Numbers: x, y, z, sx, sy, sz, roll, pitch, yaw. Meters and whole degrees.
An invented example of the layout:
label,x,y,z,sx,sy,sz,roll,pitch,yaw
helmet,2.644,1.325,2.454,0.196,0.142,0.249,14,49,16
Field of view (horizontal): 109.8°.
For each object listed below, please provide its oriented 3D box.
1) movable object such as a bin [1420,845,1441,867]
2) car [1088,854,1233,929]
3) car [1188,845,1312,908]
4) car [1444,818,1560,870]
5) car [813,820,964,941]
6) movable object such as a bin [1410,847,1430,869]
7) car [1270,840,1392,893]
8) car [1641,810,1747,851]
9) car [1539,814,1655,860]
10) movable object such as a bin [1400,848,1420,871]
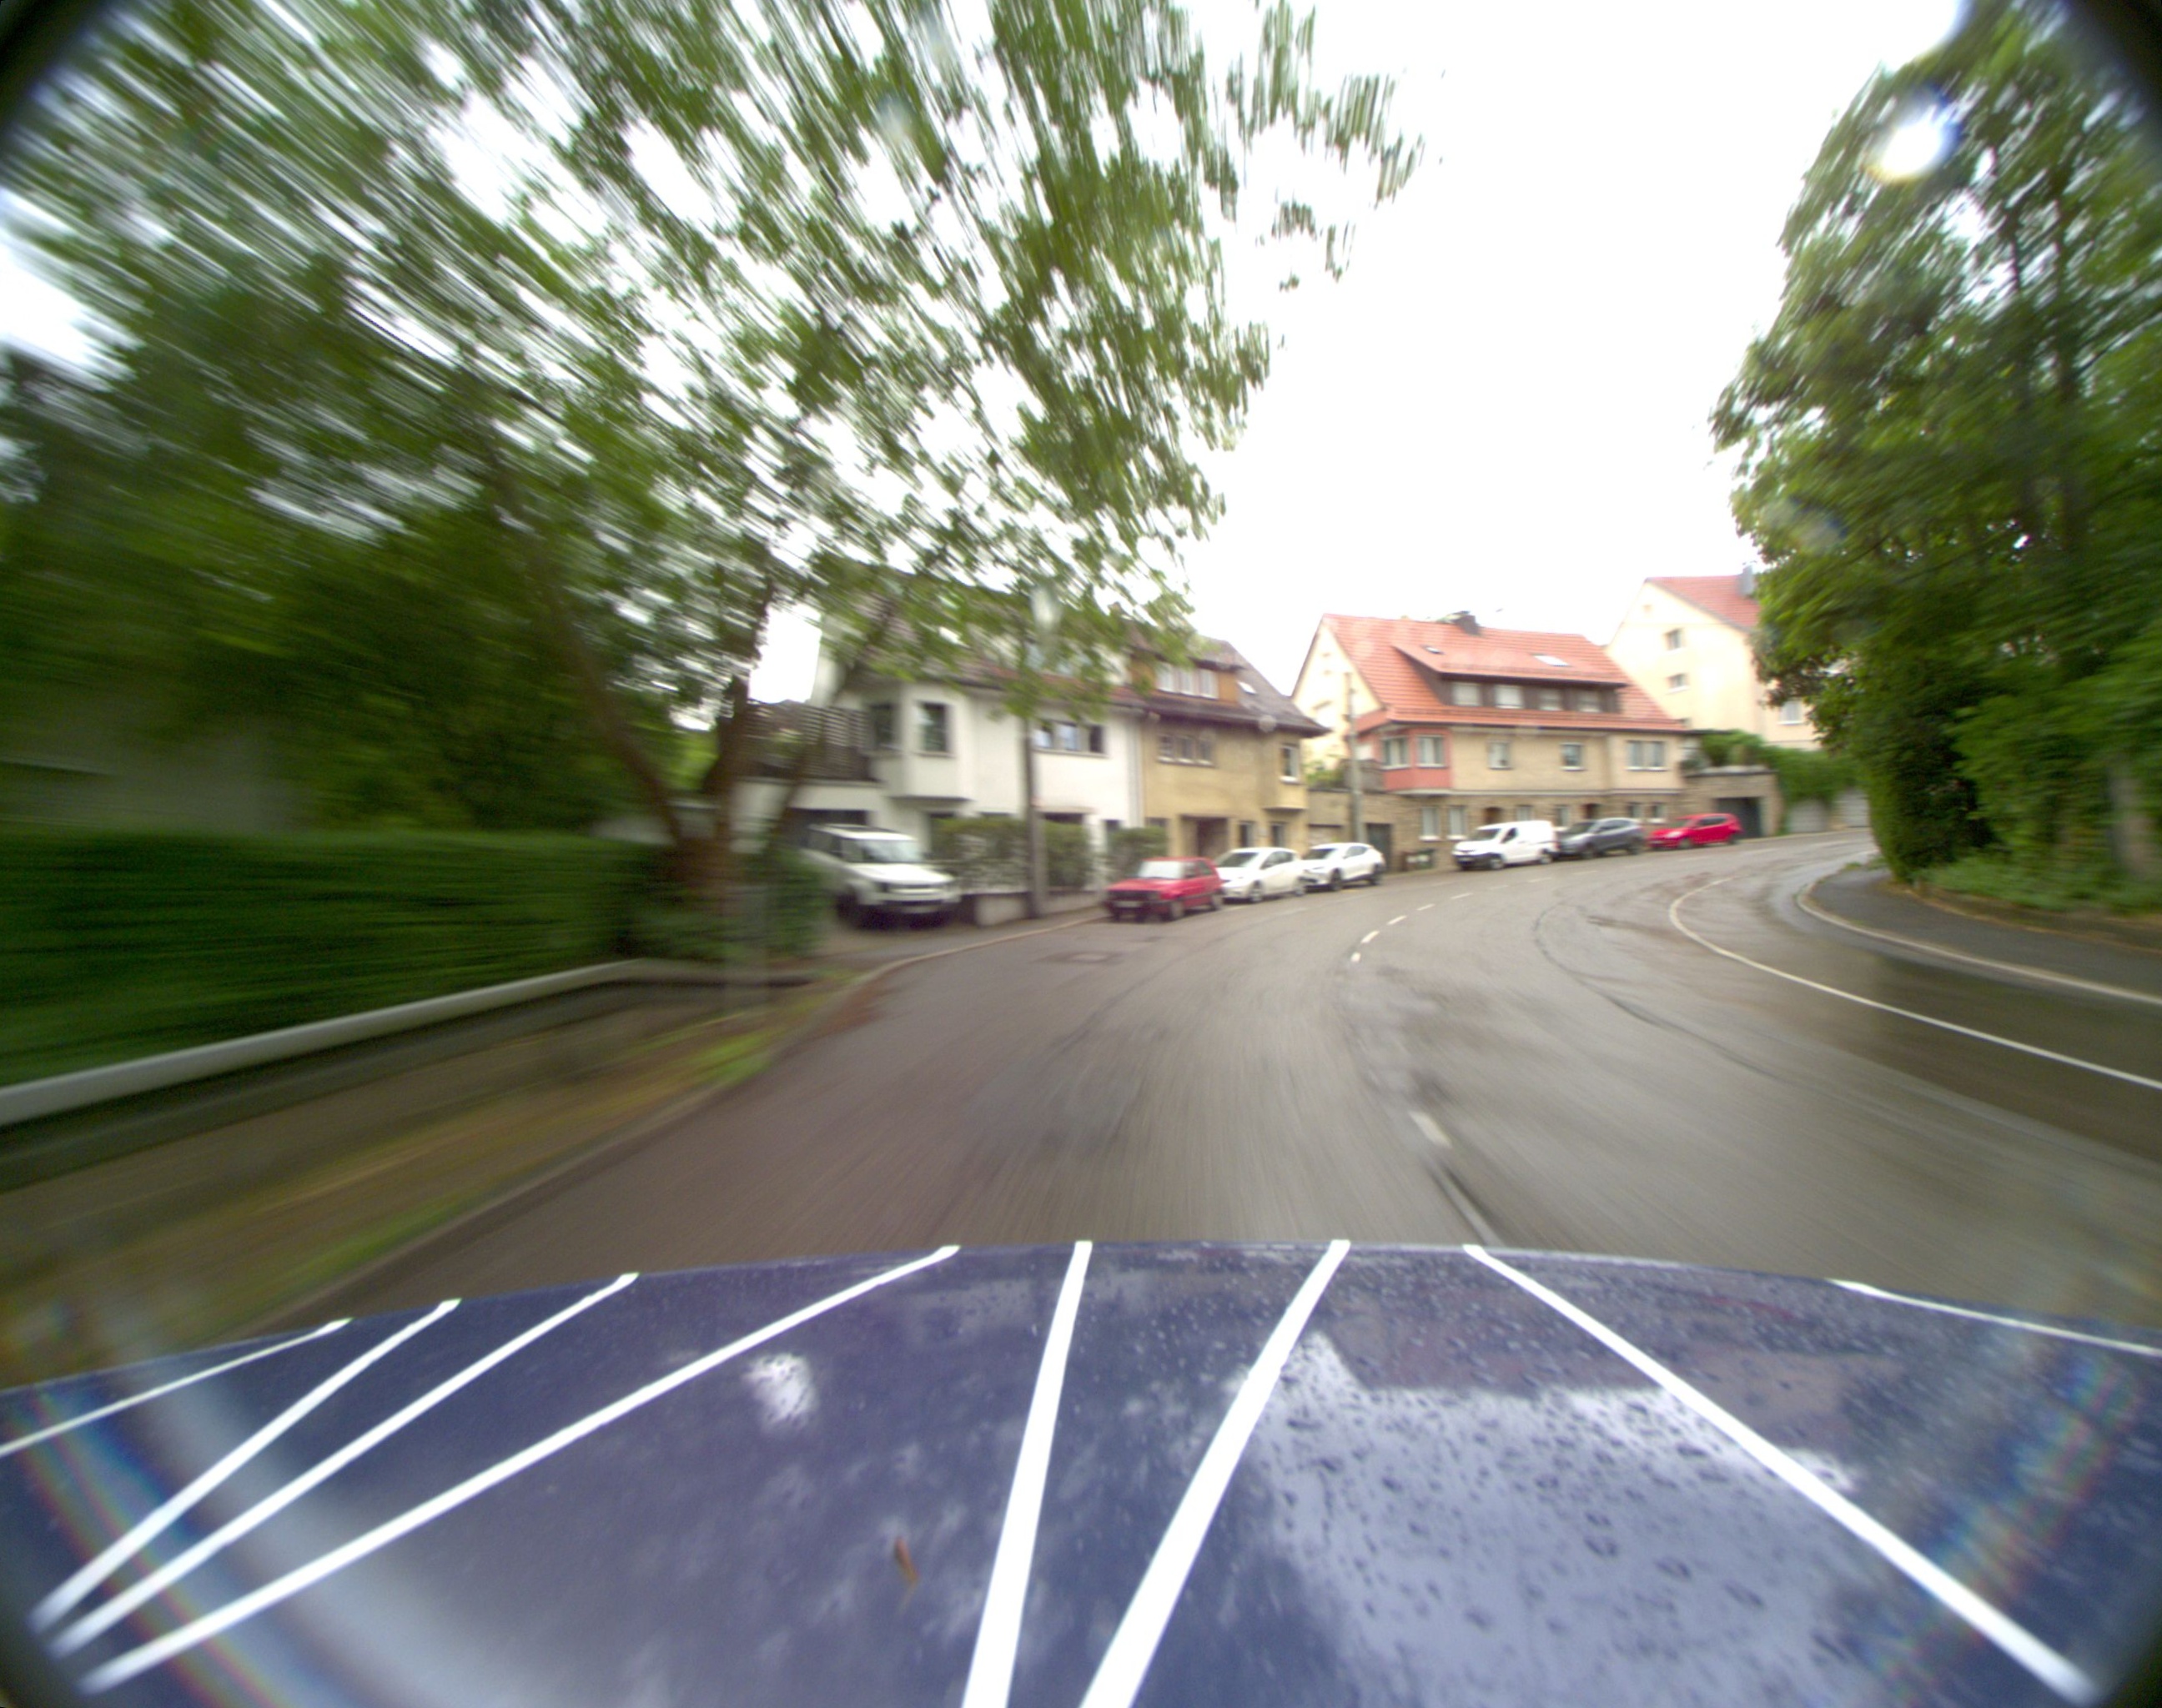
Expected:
label,x,y,z,sx,sy,sz,roll,pitch,yaw
movable object such as a bin,15.297,0.089,33.263,0.513,0.917,0.581,-5,2,-16
car,2.028,0.829,18.195,1.781,1.359,4.202,-3,2,31
car,5.000,0.616,22.205,1.766,1.506,3.830,-2,1,43
car,17.383,-0.412,31.364,4.329,1.780,1.708,-5,-1,-22
car,-4.310,0.386,16.476,2.003,1.835,4.394,-2,9,-30
movable object such as a bin,14.778,0.188,33.114,0.513,0.917,0.581,-5,2,-16
car,8.469,0.383,25.566,4.422,1.529,1.915,-3,1,-42
car,27.427,-1.041,34.052,3.580,1.427,1.619,-6,0,-8
car,22.289,-0.718,32.842,4.413,1.595,1.618,-5,0,-16
movable object such as a bin,14.249,0.232,32.948,0.513,0.917,0.581,-5,2,-16
